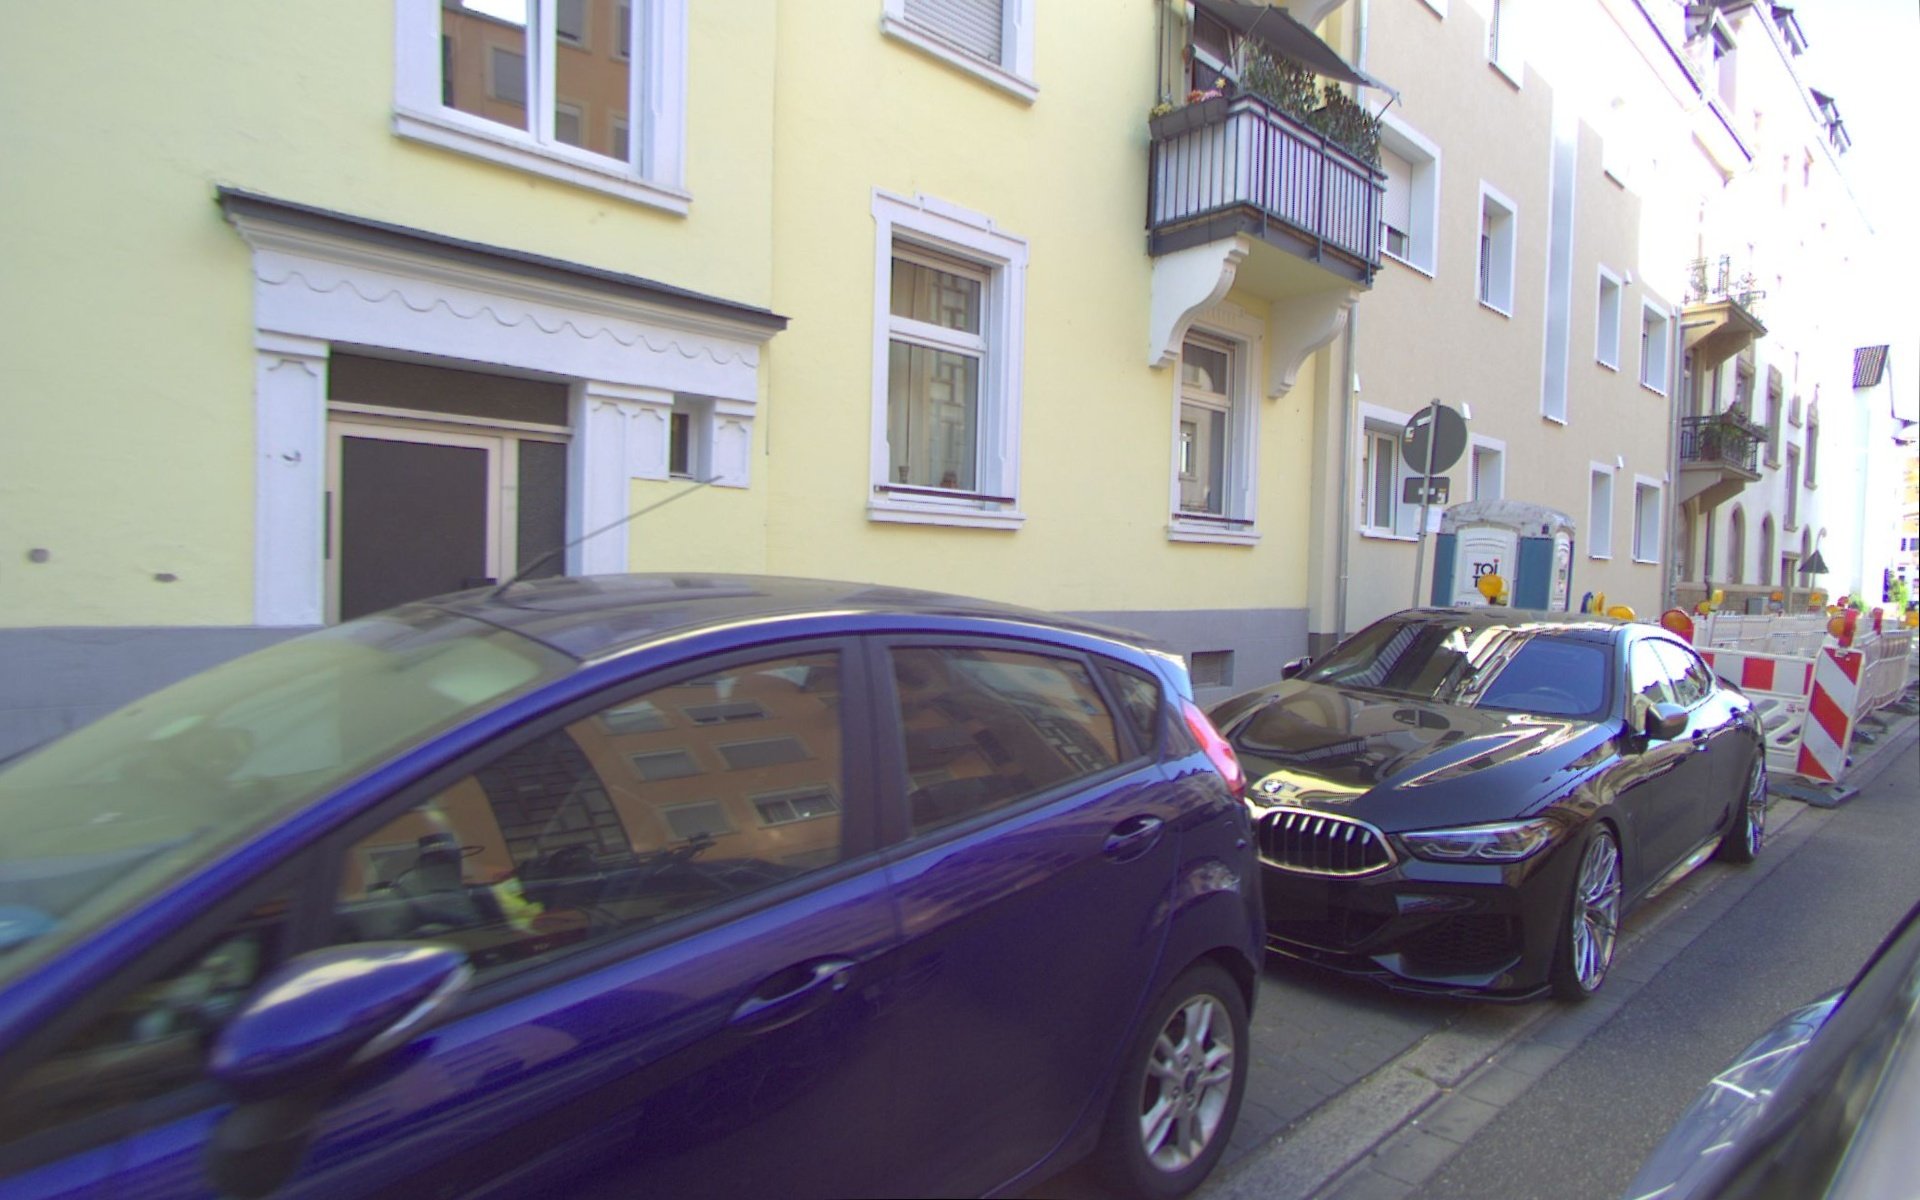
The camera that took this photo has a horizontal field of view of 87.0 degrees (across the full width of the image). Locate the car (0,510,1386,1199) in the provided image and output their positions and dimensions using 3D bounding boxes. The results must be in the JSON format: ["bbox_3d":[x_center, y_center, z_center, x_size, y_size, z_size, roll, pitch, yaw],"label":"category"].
[{"bbox_3d":[-0.810,0.625,2.215,1.765,1.488,4.019,6,5,45],"label":"car"}]

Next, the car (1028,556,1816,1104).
[{"bbox_3d":[2.779,0.643,5.248,5.024,1.488,1.805,0,4,-42],"label":"car"}]
